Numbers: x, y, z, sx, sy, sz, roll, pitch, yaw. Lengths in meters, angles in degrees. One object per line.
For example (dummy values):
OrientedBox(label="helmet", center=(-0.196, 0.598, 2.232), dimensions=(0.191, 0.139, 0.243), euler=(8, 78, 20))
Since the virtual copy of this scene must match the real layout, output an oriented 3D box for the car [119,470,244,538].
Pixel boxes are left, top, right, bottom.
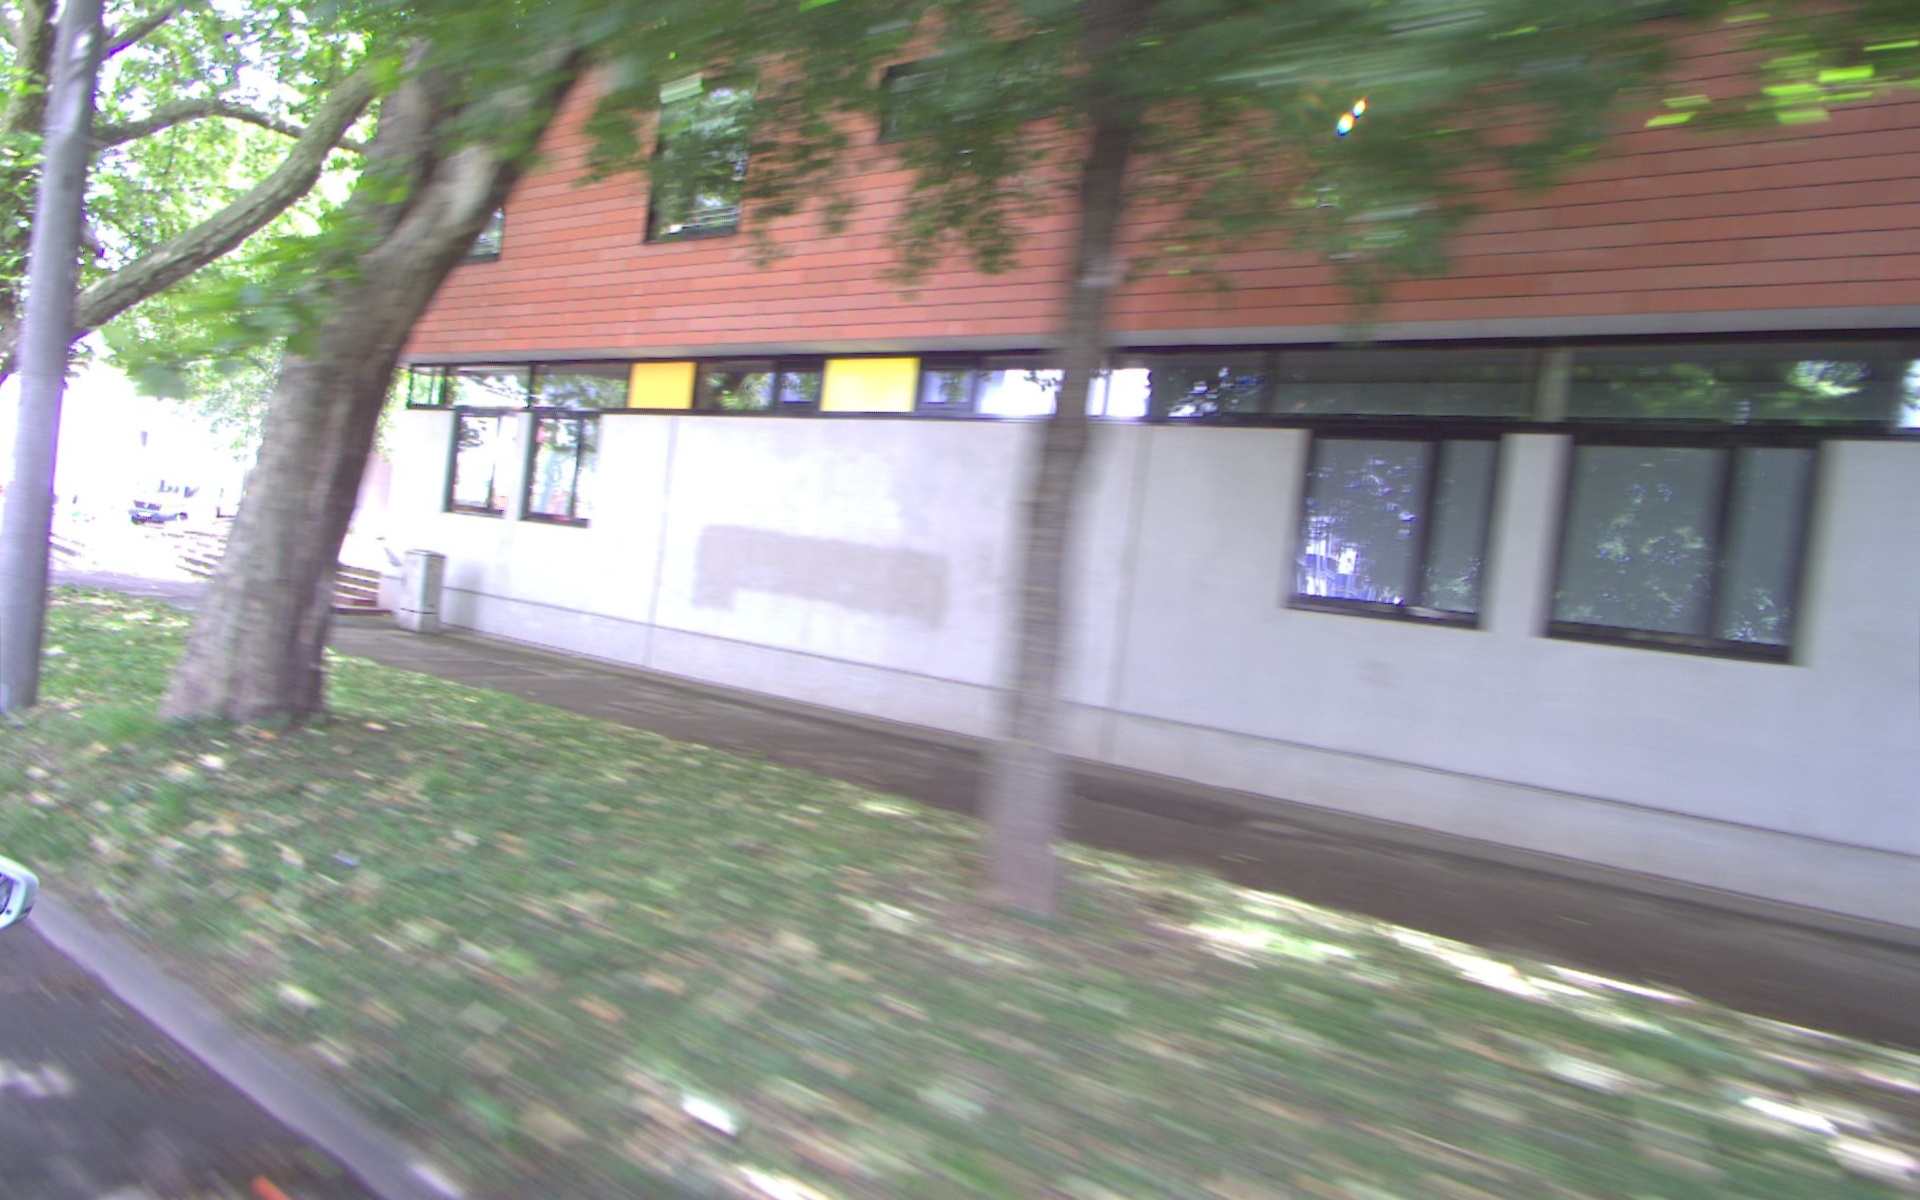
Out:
OrientedBox(label="car", center=(-36.509, -4.436, 47.335), dimensions=(2.117, 2.393, 4.256), euler=(7, -1, 5))
